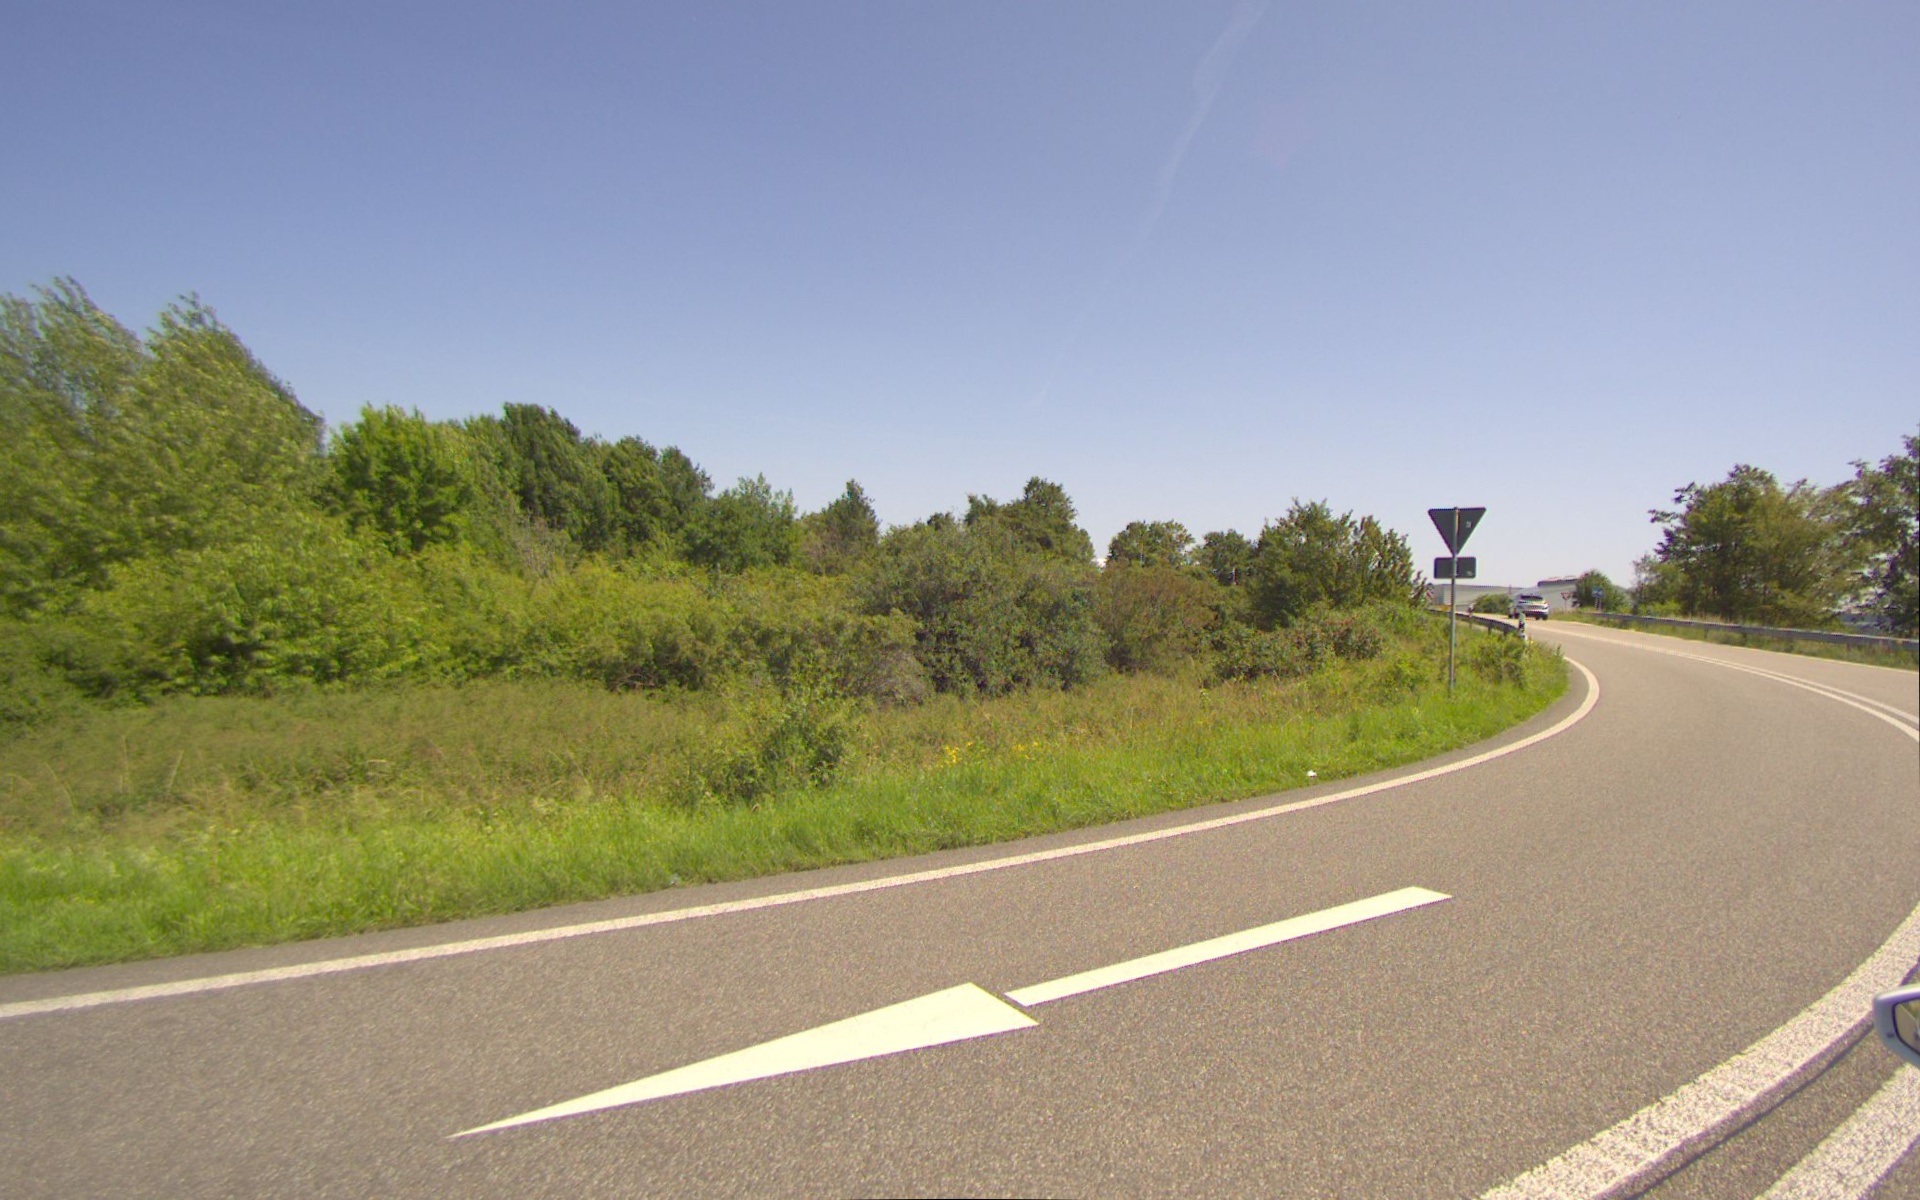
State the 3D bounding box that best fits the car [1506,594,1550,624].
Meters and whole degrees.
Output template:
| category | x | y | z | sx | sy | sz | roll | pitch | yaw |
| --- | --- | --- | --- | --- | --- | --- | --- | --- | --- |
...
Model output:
| category | x | y | z | sx | sy | sz | roll | pitch | yaw |
| --- | --- | --- | --- | --- | --- | --- | --- | --- | --- |
| car | 35.783 | 0.595 | 63.370 | 1.779 | 1.713 | 4.000 | 2 | 0 | 21 |
